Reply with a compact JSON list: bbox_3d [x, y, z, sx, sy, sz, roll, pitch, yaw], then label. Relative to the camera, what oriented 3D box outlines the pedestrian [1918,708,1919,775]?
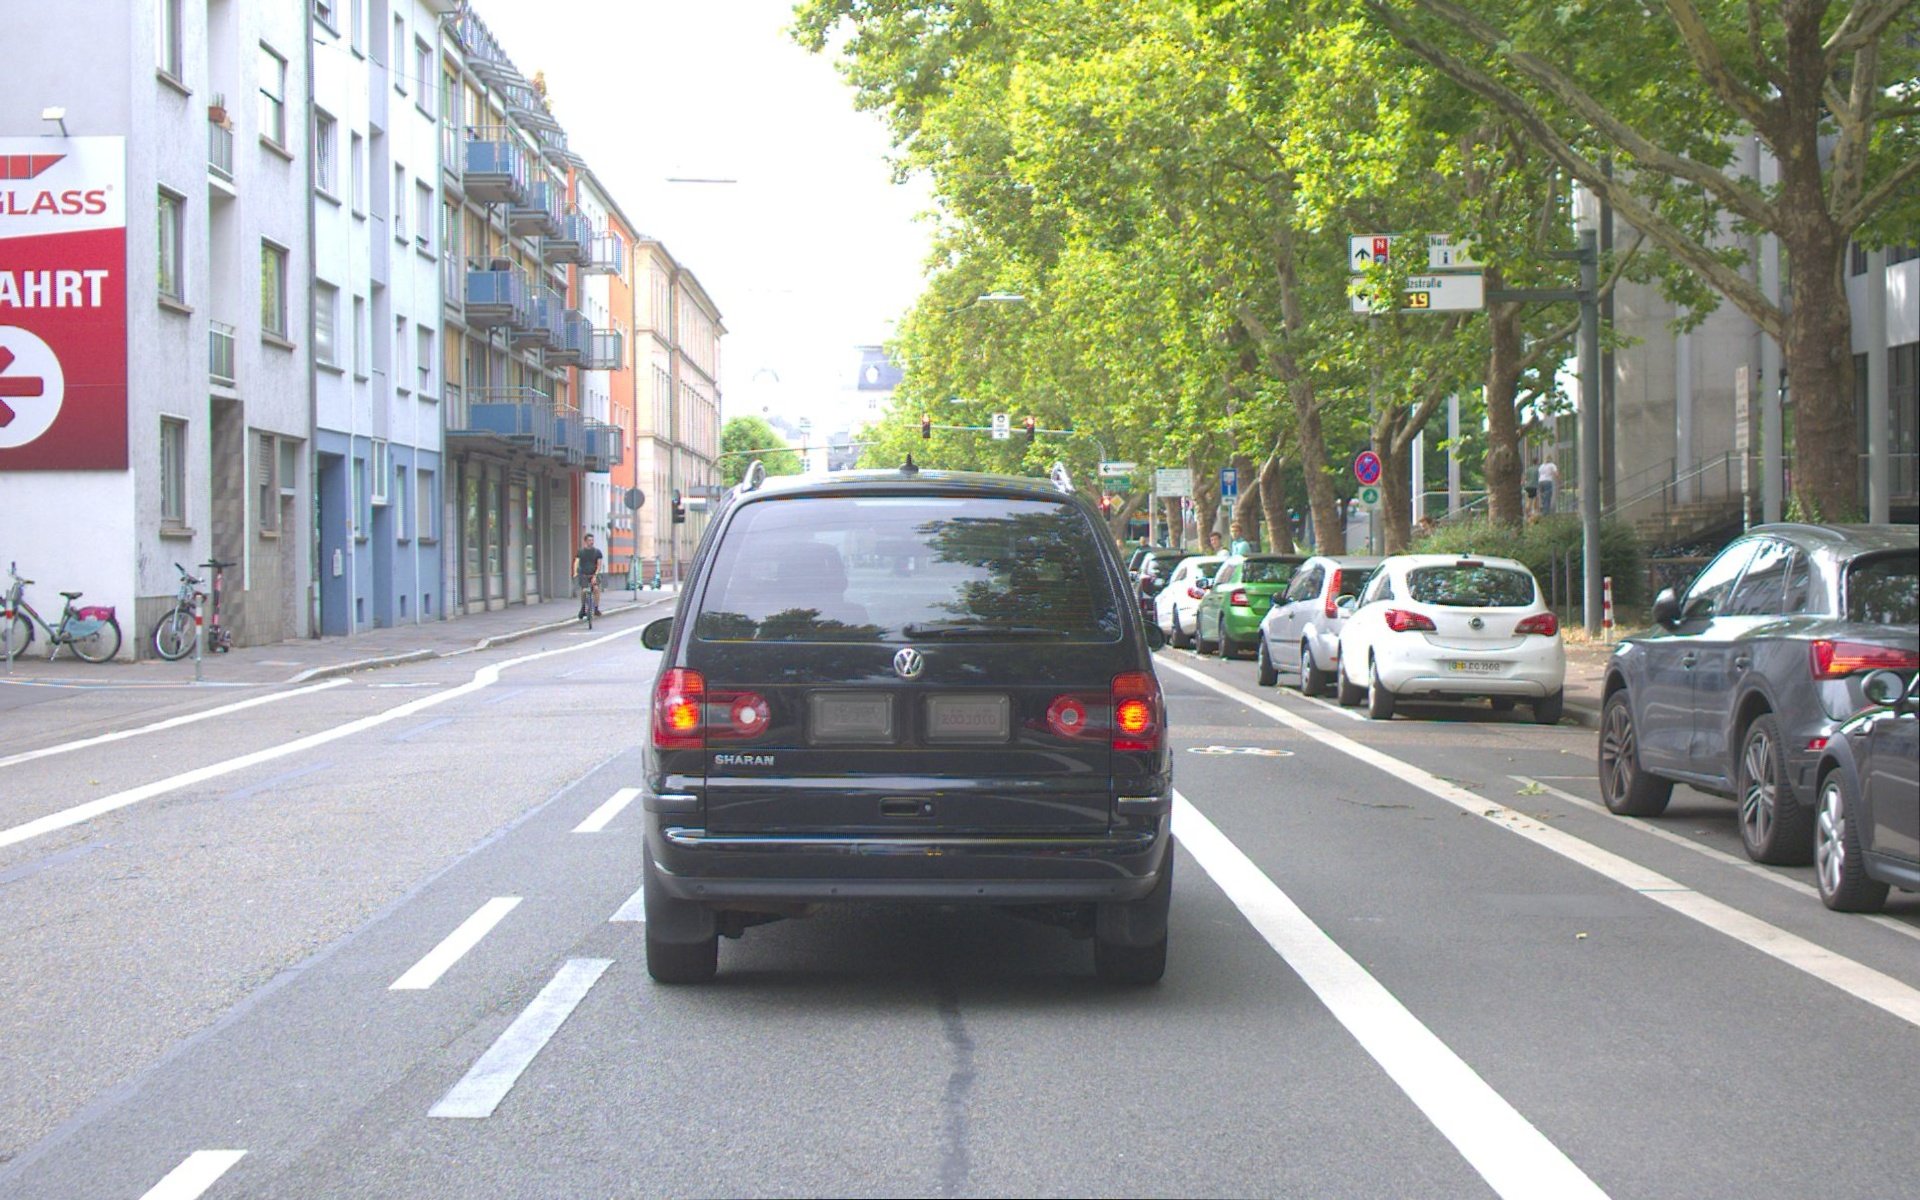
[{"bbox_3d":[6.031,0.212,20.248,0.587,1.696,0.508,1,2,1],"label":"pedestrian"}]

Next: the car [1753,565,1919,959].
[{"bbox_3d":[4.413,0.611,13.188,1.629,1.465,4.318,0,1,-2],"label":"car"}]

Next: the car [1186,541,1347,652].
[{"bbox_3d":[4.194,-0.072,47.469,1.641,1.408,3.417,2,1,-4],"label":"car"}]

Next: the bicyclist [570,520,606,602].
[{"bbox_3d":[-7.422,-0.771,68.651,0.653,1.606,0.656,1,-2,-3],"label":"bicyclist"}]

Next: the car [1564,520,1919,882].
[{"bbox_3d":[4.512,0.433,18.004,1.668,1.635,4.504,2,1,-3],"label":"car"}]

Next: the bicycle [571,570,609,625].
[{"bbox_3d":[-7.356,-0.047,68.371,0.631,1.030,2.015,1,-1,-3],"label":"bicycle"}]

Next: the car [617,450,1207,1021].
[{"bbox_3d":[-0.261,0.394,12.507,1.812,1.760,3.738,0,1,-4],"label":"car"}]

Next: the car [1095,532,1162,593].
[{"bbox_3d":[5.011,-1.137,102.462,1.788,1.766,4.000,0,1,0],"label":"car"}]

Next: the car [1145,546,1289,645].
[{"bbox_3d":[3.903,-0.093,52.677,1.641,1.390,3.513,2,1,-4],"label":"car"}]

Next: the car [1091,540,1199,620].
[{"bbox_3d":[3.613,-0.411,67.527,1.641,1.482,3.513,2,1,-4],"label":"car"}]

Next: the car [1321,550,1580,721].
[{"bbox_3d":[4.411,0.270,31.516,1.675,1.389,4.461,2,1,0],"label":"car"}]

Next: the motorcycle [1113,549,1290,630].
[{"bbox_3d":[3.951,-0.175,56.336,2.837,1.320,0.765,0,1,0],"label":"motorcycle"}]

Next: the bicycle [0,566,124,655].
[{"bbox_3d":[-11.101,0.118,41.304,2.009,1.030,0.410,1,2,1],"label":"bicycle"}]

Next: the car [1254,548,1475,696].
[{"bbox_3d":[4.189,0.193,36.049,1.641,1.408,3.417,2,1,-4],"label":"car"}]

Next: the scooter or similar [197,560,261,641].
[{"bbox_3d":[-9.703,0.021,45.696,0.631,1.030,2.015,1,-1,-7],"label":"scooter or similar"}]

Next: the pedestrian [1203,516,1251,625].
[{"bbox_3d":[4.468,-0.496,57.544,0.767,1.825,0.516,0,1,0],"label":"pedestrian"}]

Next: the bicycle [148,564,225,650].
[{"bbox_3d":[-9.655,0.078,42.946,0.631,1.030,2.016,1,1,-4],"label":"bicycle"}]
